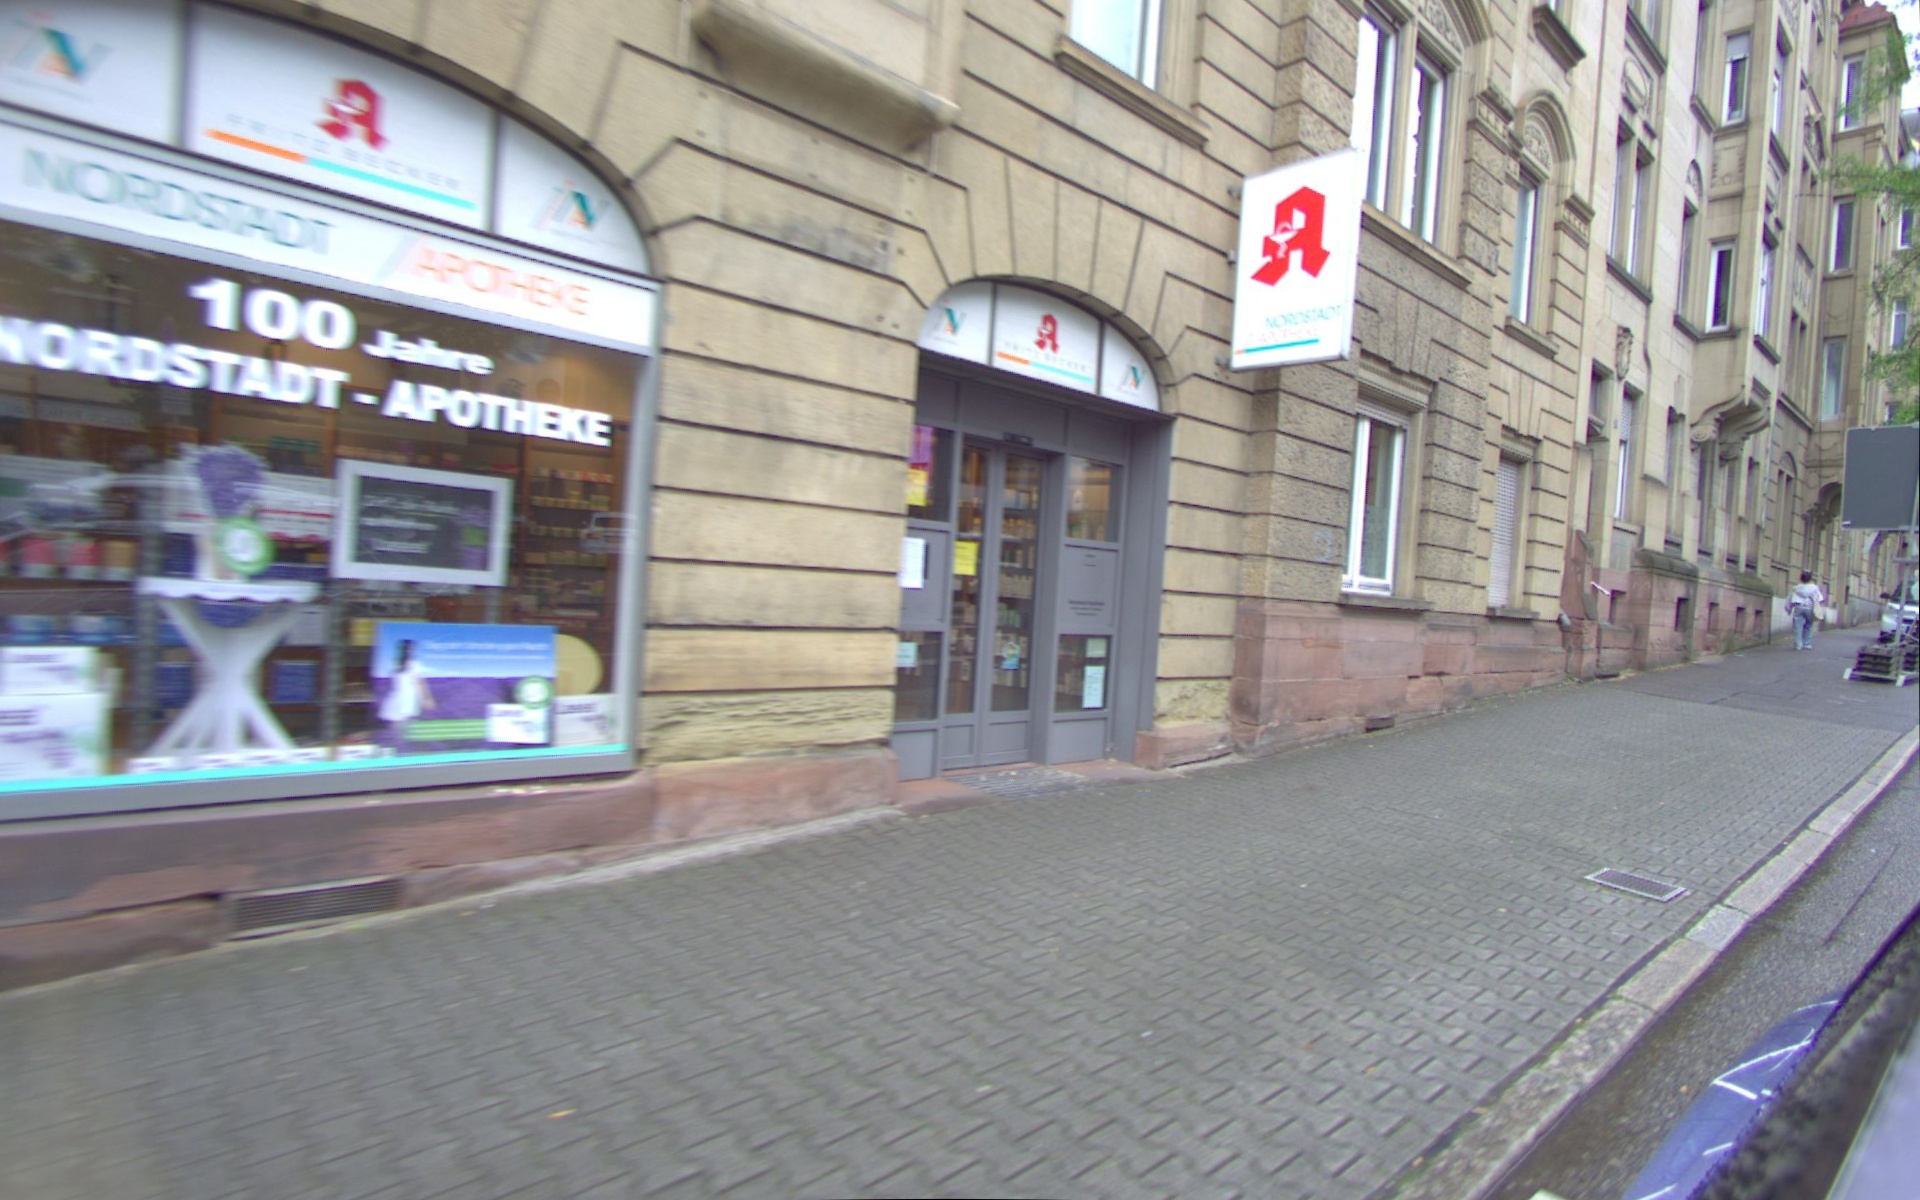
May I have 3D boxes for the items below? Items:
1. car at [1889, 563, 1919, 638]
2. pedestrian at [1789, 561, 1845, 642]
[{"bbox_3d":[23.011,0.058,23.601,3.434,1.636,1.526,0,7,-42],"label":"car"},{"bbox_3d":[16.990,0.016,20.075,0.679,1.513,0.644,-4,8,-42],"label":"pedestrian"}]
